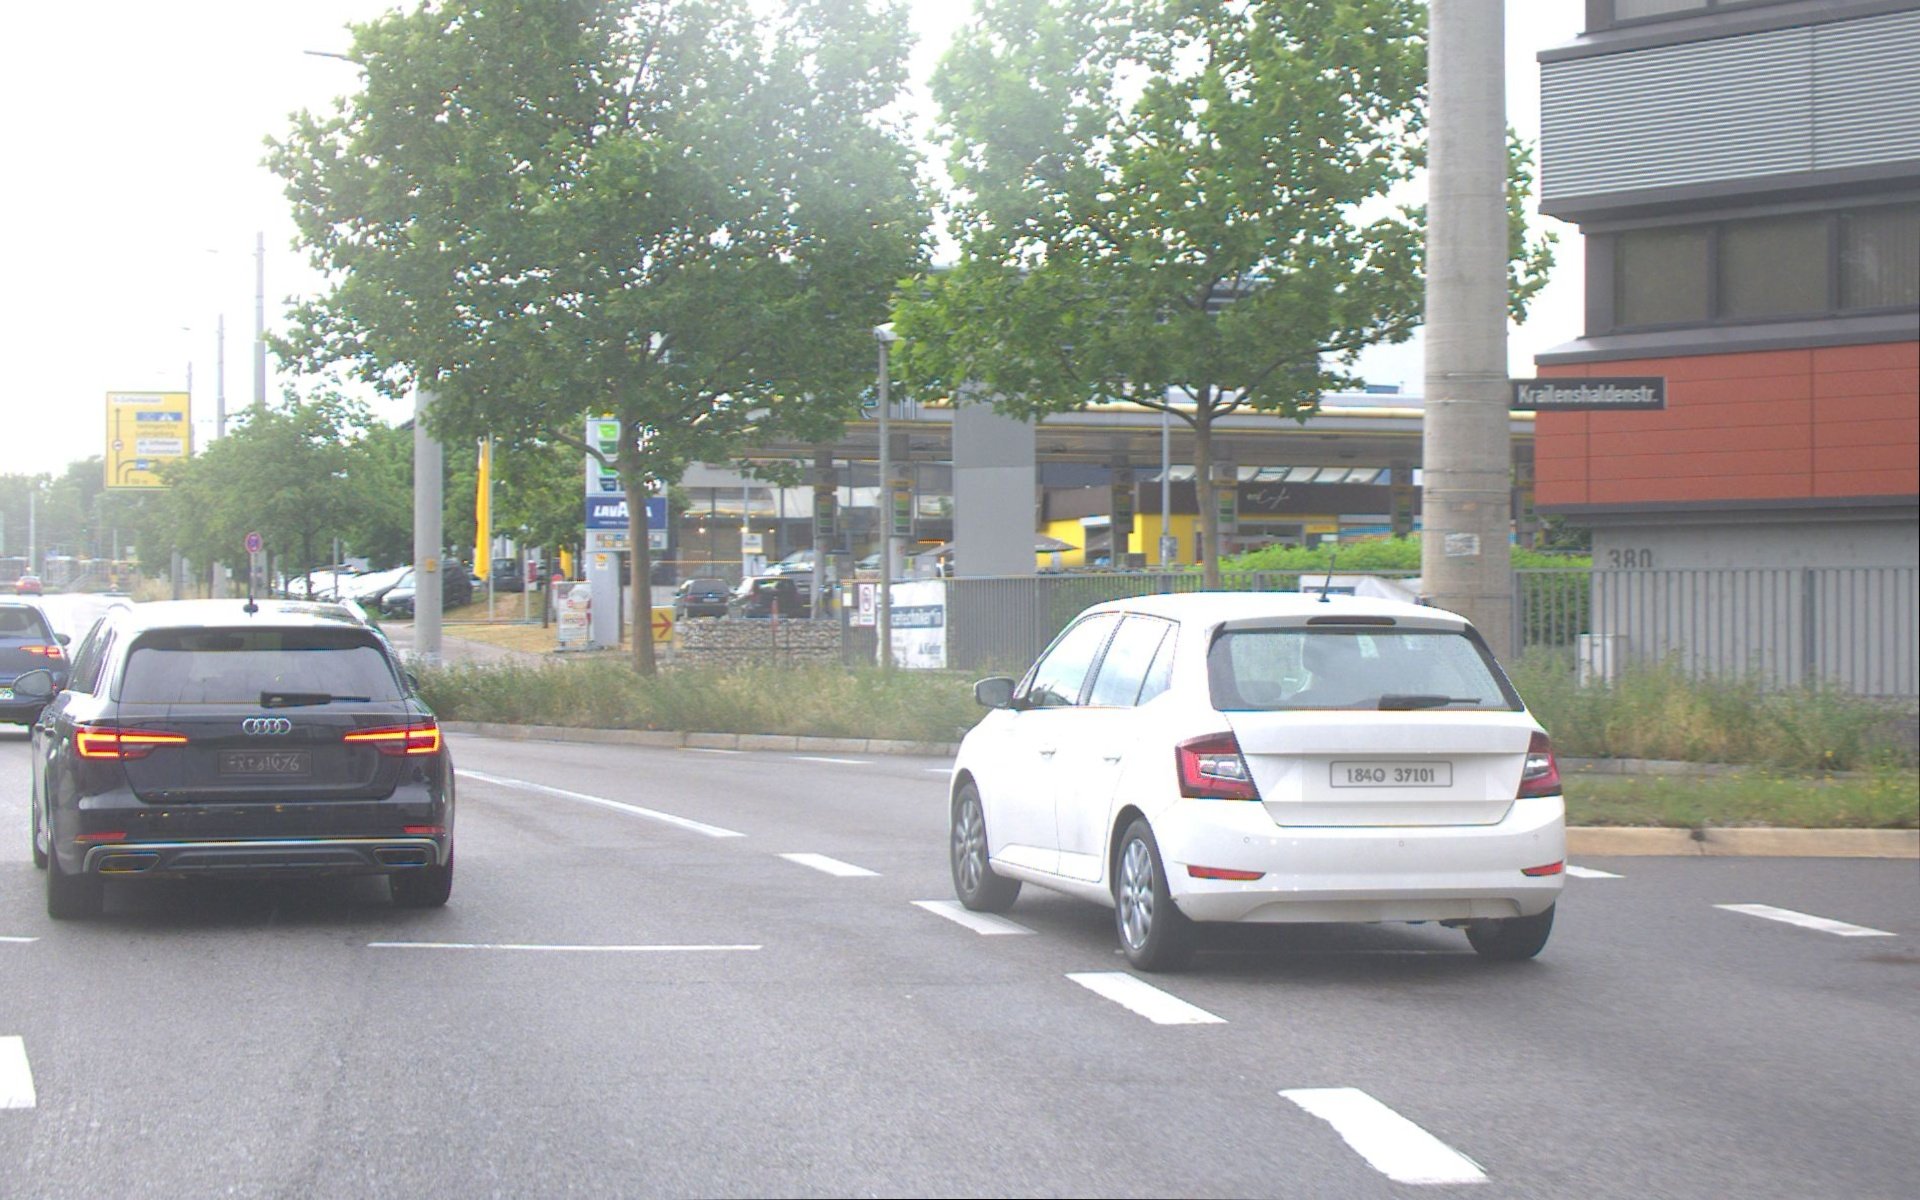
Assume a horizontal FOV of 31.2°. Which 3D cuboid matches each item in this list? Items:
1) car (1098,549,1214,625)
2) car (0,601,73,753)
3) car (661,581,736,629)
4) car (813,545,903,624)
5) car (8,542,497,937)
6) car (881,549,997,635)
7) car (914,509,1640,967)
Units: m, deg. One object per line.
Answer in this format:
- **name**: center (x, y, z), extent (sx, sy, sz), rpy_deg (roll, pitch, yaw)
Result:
- **car**: center (5.411, -0.354, 95.364), extent (1.869, 2.007, 3.775), rpy_deg (3, -1, -18)
- **car**: center (-10.028, 0.754, 34.976), extent (1.893, 1.460, 3.910), rpy_deg (1, -1, -15)
- **car**: center (-8.779, 0.164, 115.197), extent (1.791, 1.586, 4.001), rpy_deg (0, 0, -15)
- **car**: center (-2.764, -0.403, 92.371), extent (1.678, 2.007, 3.543), rpy_deg (3, -1, -13)
- **car**: center (-3.496, 0.557, 16.422), extent (1.993, 1.631, 4.001), rpy_deg (0, 1, -16)
- **car**: center (-0.528, -0.204, 83.511), extent (1.993, 2.025, 4.001), rpy_deg (-1, 0, -13)
- **car**: center (1.162, 0.531, 14.566), extent (1.828, 1.650, 4.001), rpy_deg (1, -1, -14)
